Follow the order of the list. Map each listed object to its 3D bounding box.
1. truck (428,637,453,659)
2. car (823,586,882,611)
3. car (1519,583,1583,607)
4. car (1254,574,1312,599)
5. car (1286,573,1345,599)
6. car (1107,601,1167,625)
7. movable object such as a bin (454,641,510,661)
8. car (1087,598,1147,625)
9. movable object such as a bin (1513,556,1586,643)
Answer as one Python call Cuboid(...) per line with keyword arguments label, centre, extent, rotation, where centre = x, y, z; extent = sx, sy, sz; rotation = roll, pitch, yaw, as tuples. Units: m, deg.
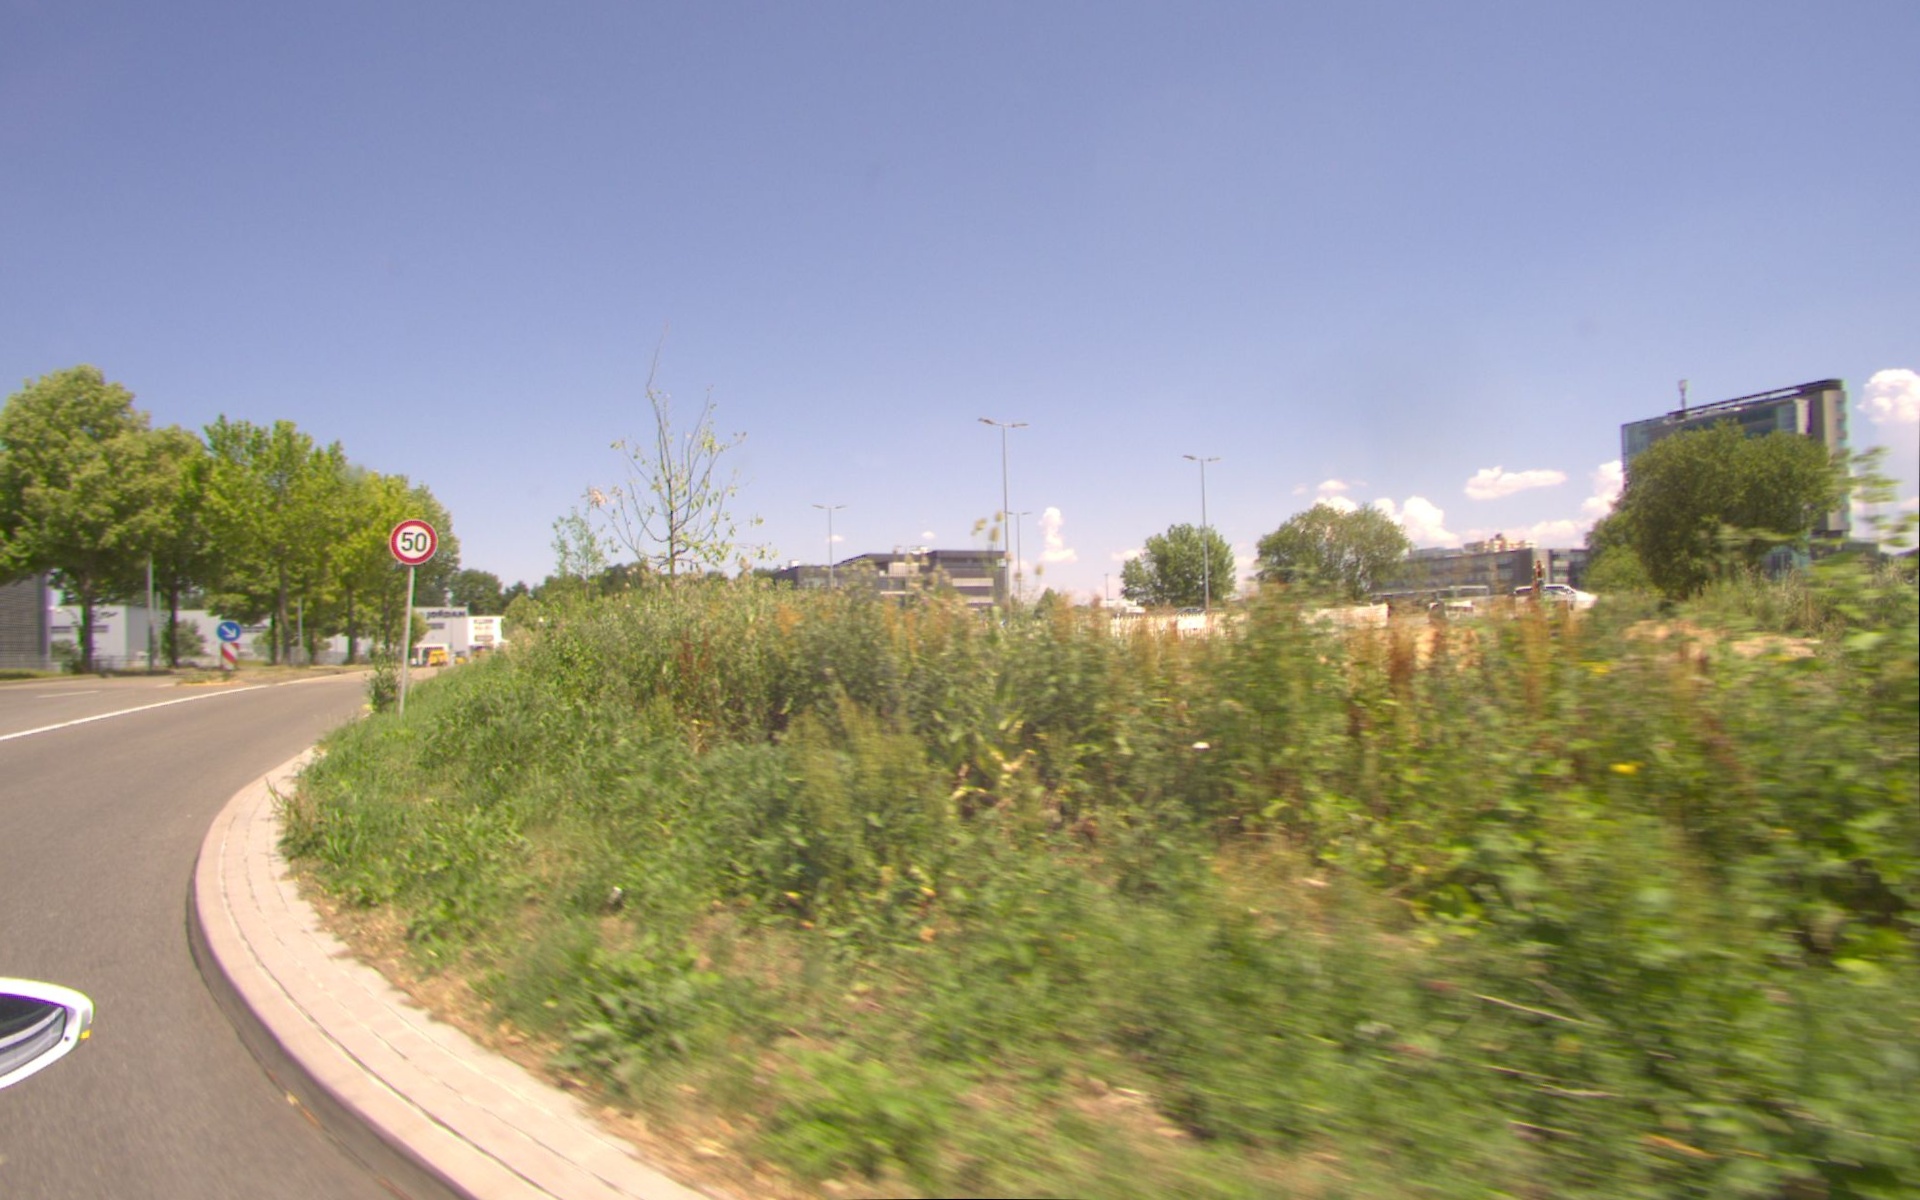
Cuboid(label="truck", centre=(-81.001, 7.422, 155.981), extent=(2.907, 2.925, 5.774), rotation=(-3, 2, -32))
Cuboid(label="car", centre=(-8.064, -0.122, 74.947), extent=(3.935, 1.662, 1.922), rotation=(-2, -2, -24))
Cuboid(label="car", centre=(43.615, -0.375, 73.879), extent=(3.947, 1.548, 1.865), rotation=(-4, -2, 34))
Cuboid(label="car", centre=(23.269, -0.952, 72.117), extent=(3.948, 1.662, 1.986), rotation=(-3, 2, -36))
Cuboid(label="car", centre=(24.828, -0.988, 69.889), extent=(3.948, 1.662, 1.986), rotation=(-3, 2, -36))
Cuboid(label="car", centre=(11.927, 0.862, 67.367), extent=(3.948, 1.440, 1.709), rotation=(-3, 2, -36))
Cuboid(label="movable object such as a bin", centre=(-75.626, 8.022, 158.572), extent=(7.415, 2.534, 3.658), rotation=(-2, 2, -16))
Cuboid(label="car", centre=(11.052, 0.780, 70.518), extent=(3.948, 1.662, 1.986), rotation=(-3, 2, -36))
Cuboid(label="movable object such as a bin", centre=(30.101, -0.127, 51.136), extent=(2.944, 4.100, 8.061), rotation=(-1, 2, 31))
